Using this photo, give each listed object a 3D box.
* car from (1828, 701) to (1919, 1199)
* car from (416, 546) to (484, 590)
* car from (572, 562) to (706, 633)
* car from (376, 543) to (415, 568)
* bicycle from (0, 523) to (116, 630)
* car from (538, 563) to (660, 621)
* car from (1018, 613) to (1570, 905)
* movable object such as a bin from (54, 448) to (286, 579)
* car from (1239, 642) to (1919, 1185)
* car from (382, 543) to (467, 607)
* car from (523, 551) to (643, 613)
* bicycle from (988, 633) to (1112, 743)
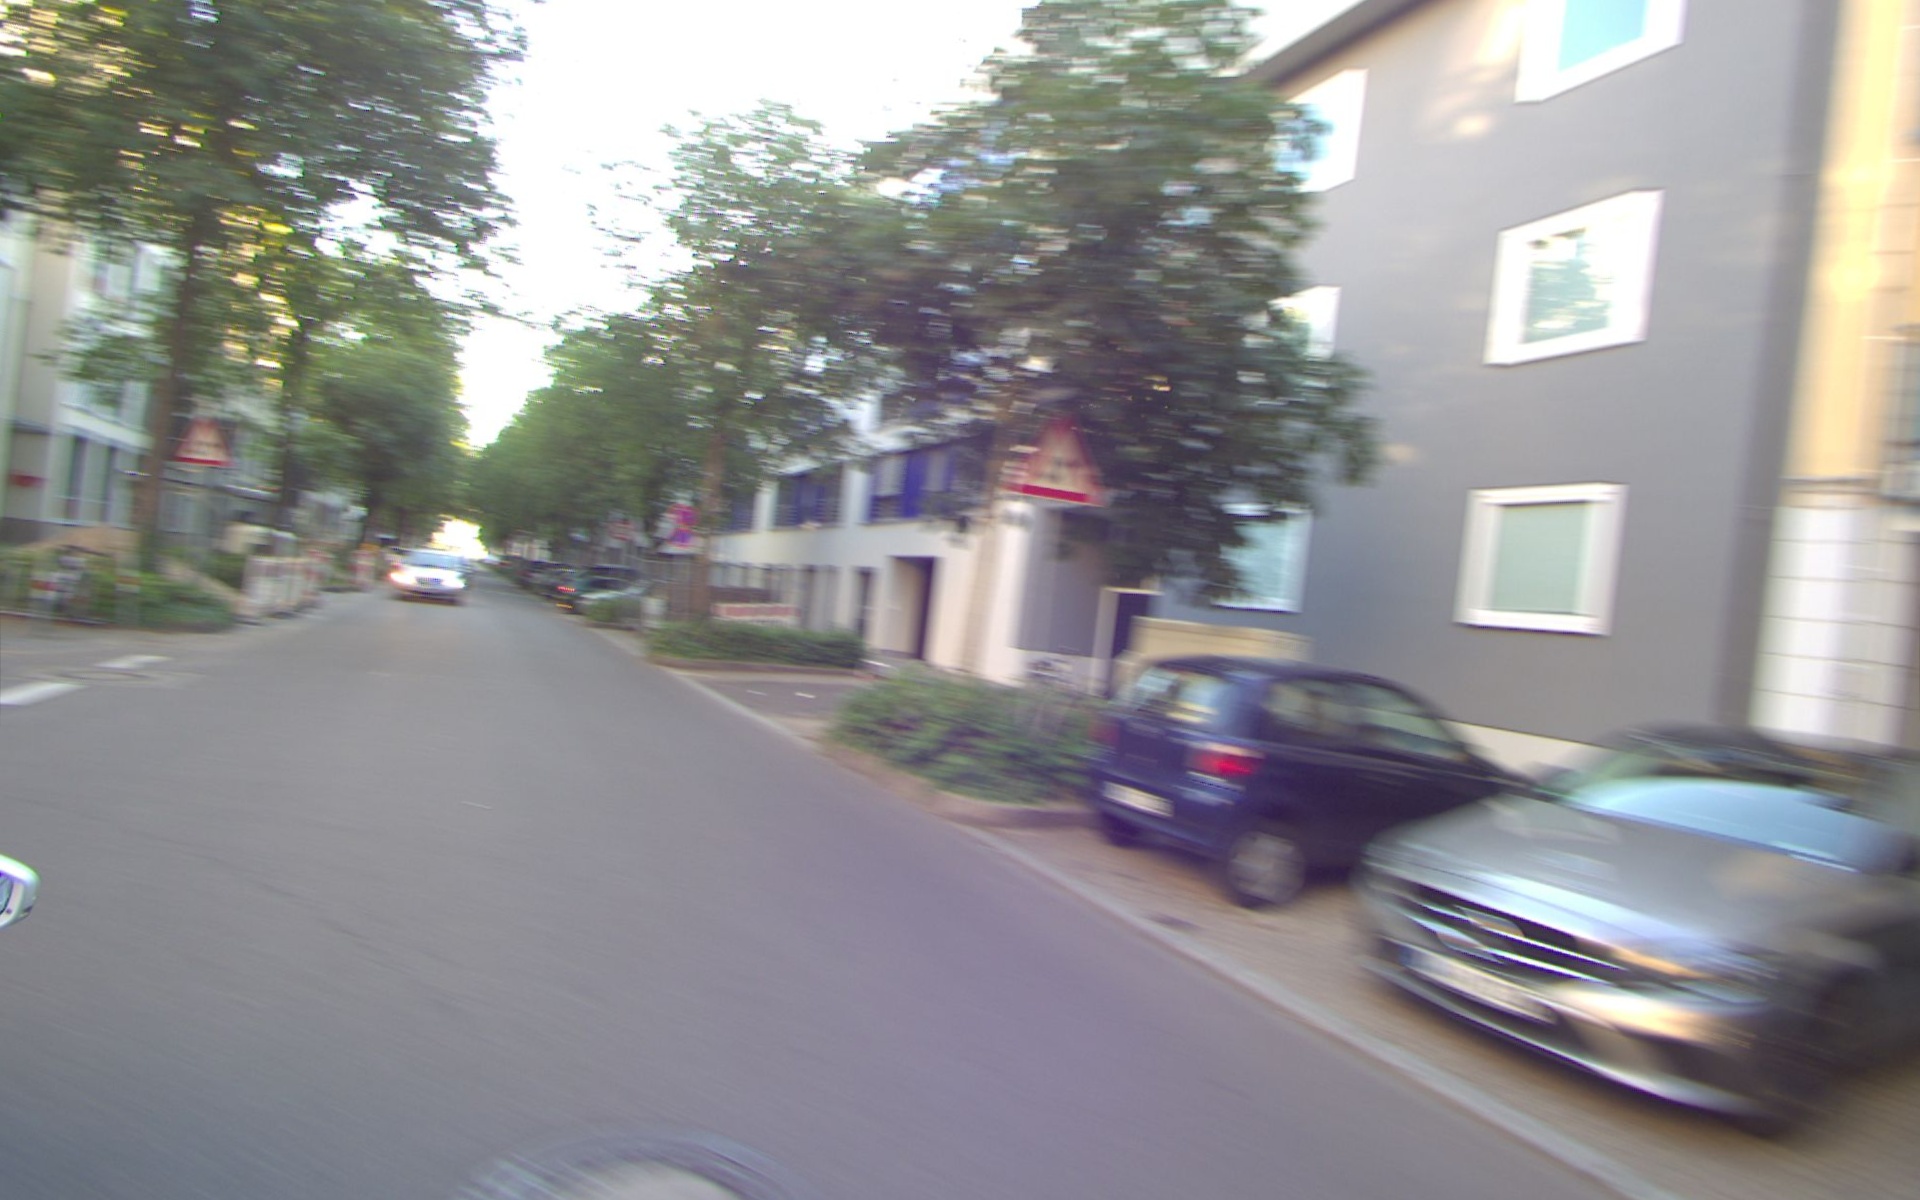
[{"bbox_3d":[5.230,1.420,3.205,4.742,1.538,1.978,8,-1,-27],"label":"car"},{"bbox_3d":[-23.854,-1.491,47.227,1.927,1.735,4.684,7,0,-18],"label":"car"},{"bbox_3d":[-10.782,-0.097,33.804,3.949,1.826,1.989,8,-1,-24],"label":"car"},{"bbox_3d":[-36.835,-2.929,65.627,1.980,1.303,3.966,8,-1,-32],"label":"car"},{"bbox_3d":[-11.183,-0.324,12.528,0.678,1.167,1.963,7,0,-33],"label":"bicycle"},{"bbox_3d":[-13.464,-0.307,37.523,3.952,1.604,1.987,8,-1,-26],"label":"car"},{"bbox_3d":[2.468,1.140,7.412,3.510,1.583,1.819,8,-1,-28],"label":"car"},{"bbox_3d":[-19.056,-2.024,24.592,4.020,2.412,2.759,8,0,-33],"label":"movable object such as a bin"},{"bbox_3d":[3.939,1.344,5.211,4.585,1.590,1.997,8,-1,-28],"label":"car"},{"bbox_3d":[-16.584,-0.814,31.325,1.992,1.633,4.093,7,0,-25],"label":"car"},{"bbox_3d":[-17.119,-0.820,45.705,4.703,2.037,1.985,9,-1,-29],"label":"car"},{"bbox_3d":[1.204,1.183,13.918,0.820,1.250,1.793,7,0,-24],"label":"bicycle"}]
